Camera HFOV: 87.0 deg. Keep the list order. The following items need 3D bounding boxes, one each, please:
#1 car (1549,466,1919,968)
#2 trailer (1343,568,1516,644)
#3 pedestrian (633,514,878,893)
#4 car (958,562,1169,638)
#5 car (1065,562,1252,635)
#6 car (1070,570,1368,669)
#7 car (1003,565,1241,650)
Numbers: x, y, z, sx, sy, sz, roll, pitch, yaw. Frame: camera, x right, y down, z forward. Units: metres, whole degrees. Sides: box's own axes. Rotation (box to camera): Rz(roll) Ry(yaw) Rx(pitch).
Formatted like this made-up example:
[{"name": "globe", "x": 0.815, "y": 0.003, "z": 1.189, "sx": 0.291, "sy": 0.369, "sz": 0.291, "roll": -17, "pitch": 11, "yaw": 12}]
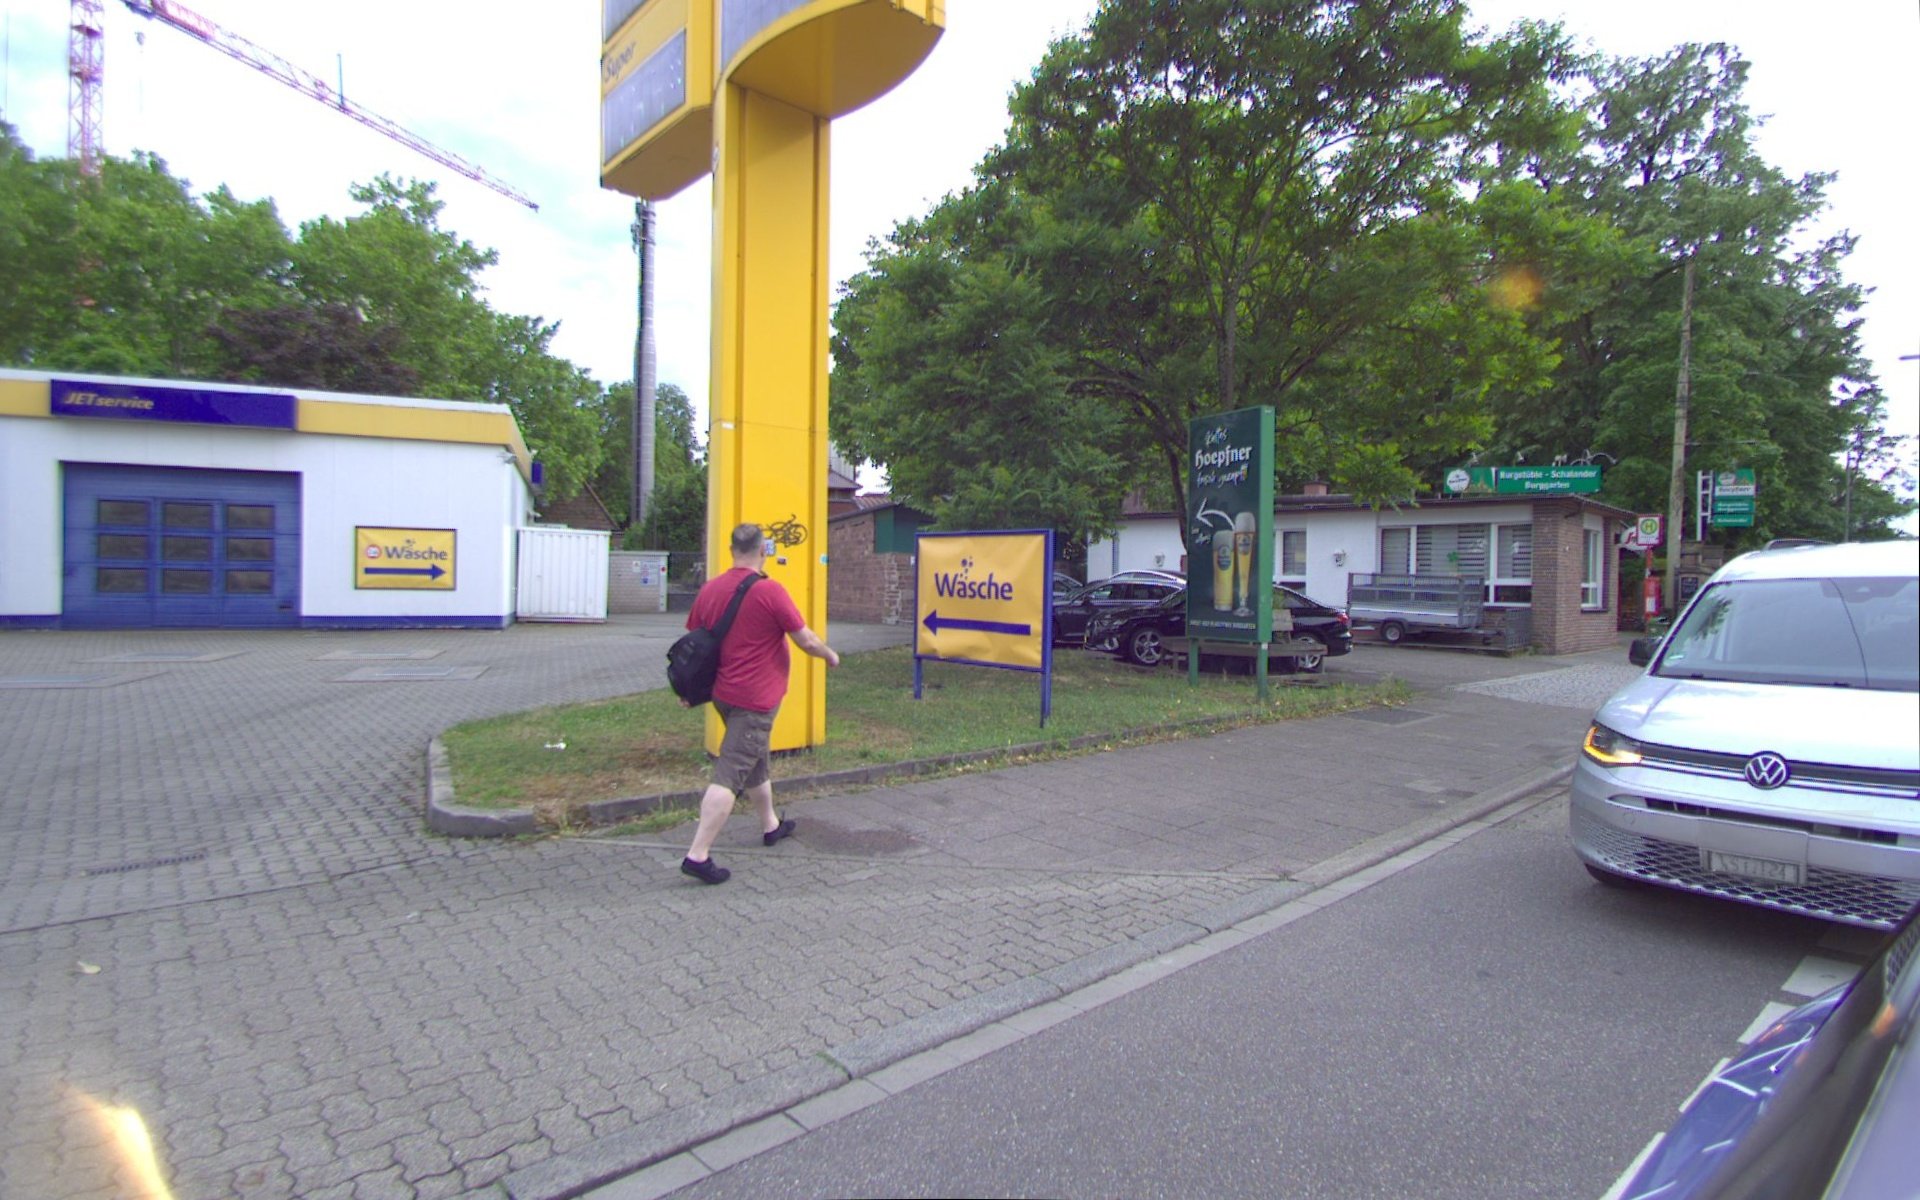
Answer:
[{"name": "car", "x": 5.215, "y": 0.431, "z": 5.440, "sx": 4.846, "sy": 1.830, "sz": 1.851, "roll": 1, "pitch": 1, "yaw": -38}, {"name": "trailer", "x": 10.441, "y": 0.080, "z": 22.622, "sx": 1.594, "sy": 1.558, "sz": 3.165, "roll": -1, "pitch": 2, "yaw": -43}, {"name": "pedestrian", "x": -1.026, "y": 0.462, "z": 5.252, "sx": 0.960, "sy": 1.759, "sz": 0.858, "roll": 2, "pitch": 2, "yaw": 12}, {"name": "car", "x": 2.284, "y": -0.014, "z": 23.083, "sx": 4.401, "sy": 1.477, "sz": 1.988, "roll": 2, "pitch": 1, "yaw": -6}, {"name": "car", "x": 4.918, "y": -0.086, "z": 25.583, "sx": 1.955, "sy": 1.667, "sz": 4.434, "roll": 0, "pitch": 1, "yaw": -39}, {"name": "car", "x": 4.253, "y": 0.289, "z": 17.169, "sx": 4.497, "sy": 1.425, "sz": 1.936, "roll": 2, "pitch": 1, "yaw": 0}, {"name": "car", "x": 3.195, "y": 0.123, "z": 20.677, "sx": 4.453, "sy": 1.444, "sz": 1.880, "roll": 2, "pitch": 3, "yaw": -2}]
